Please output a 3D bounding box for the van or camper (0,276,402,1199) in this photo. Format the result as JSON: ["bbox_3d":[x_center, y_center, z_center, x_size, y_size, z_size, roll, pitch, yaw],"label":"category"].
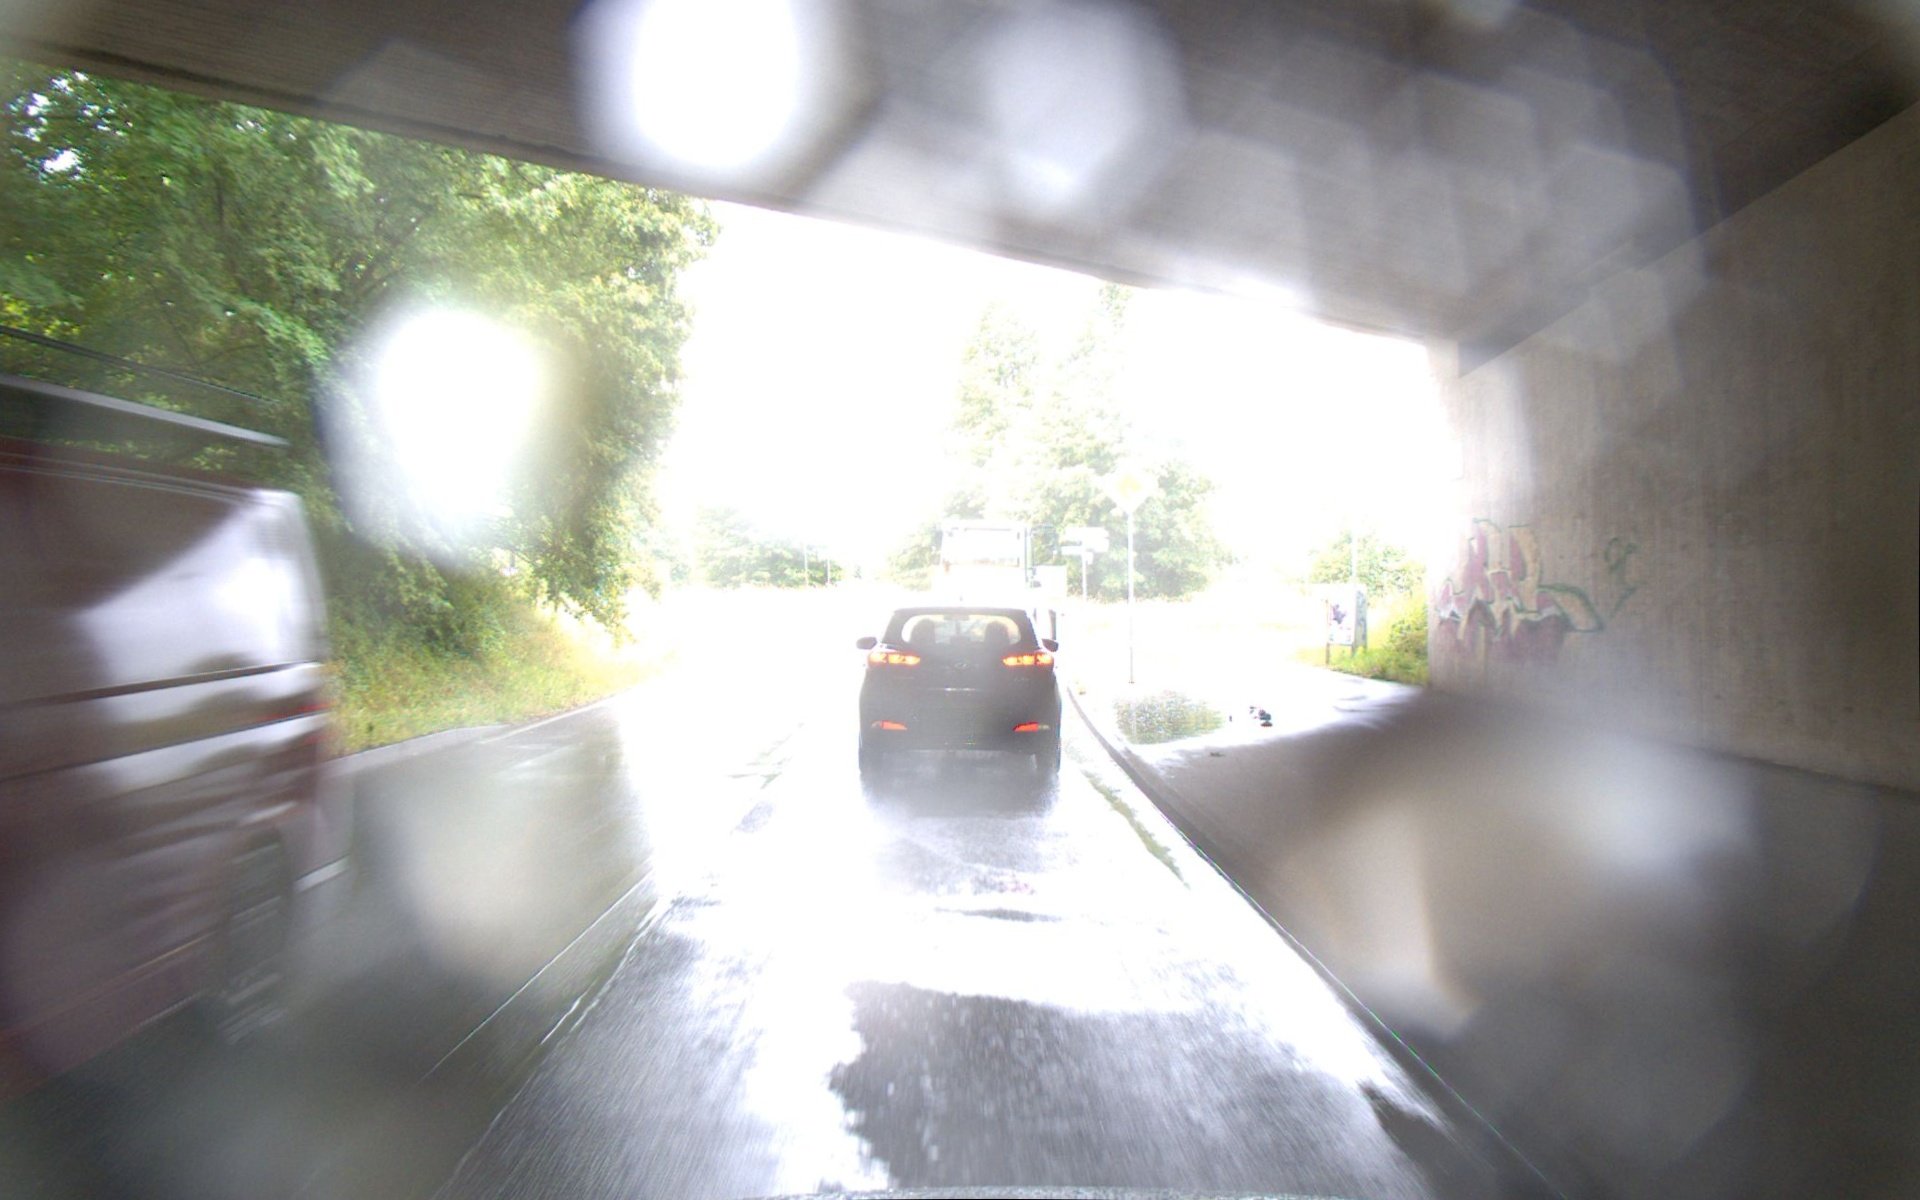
[{"bbox_3d":[-3.109,0.332,3.932,1.953,2.135,4.691,1,0,0],"label":"van or camper"}]

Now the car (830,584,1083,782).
[{"bbox_3d":[-0.170,0.642,14.923,1.954,1.513,3.996,1,0,-4],"label":"car"}]

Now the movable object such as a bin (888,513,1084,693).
[{"bbox_3d":[0.631,0.043,28.704,2.198,2.716,6.632,1,0,11],"label":"movable object such as a bin"}]
